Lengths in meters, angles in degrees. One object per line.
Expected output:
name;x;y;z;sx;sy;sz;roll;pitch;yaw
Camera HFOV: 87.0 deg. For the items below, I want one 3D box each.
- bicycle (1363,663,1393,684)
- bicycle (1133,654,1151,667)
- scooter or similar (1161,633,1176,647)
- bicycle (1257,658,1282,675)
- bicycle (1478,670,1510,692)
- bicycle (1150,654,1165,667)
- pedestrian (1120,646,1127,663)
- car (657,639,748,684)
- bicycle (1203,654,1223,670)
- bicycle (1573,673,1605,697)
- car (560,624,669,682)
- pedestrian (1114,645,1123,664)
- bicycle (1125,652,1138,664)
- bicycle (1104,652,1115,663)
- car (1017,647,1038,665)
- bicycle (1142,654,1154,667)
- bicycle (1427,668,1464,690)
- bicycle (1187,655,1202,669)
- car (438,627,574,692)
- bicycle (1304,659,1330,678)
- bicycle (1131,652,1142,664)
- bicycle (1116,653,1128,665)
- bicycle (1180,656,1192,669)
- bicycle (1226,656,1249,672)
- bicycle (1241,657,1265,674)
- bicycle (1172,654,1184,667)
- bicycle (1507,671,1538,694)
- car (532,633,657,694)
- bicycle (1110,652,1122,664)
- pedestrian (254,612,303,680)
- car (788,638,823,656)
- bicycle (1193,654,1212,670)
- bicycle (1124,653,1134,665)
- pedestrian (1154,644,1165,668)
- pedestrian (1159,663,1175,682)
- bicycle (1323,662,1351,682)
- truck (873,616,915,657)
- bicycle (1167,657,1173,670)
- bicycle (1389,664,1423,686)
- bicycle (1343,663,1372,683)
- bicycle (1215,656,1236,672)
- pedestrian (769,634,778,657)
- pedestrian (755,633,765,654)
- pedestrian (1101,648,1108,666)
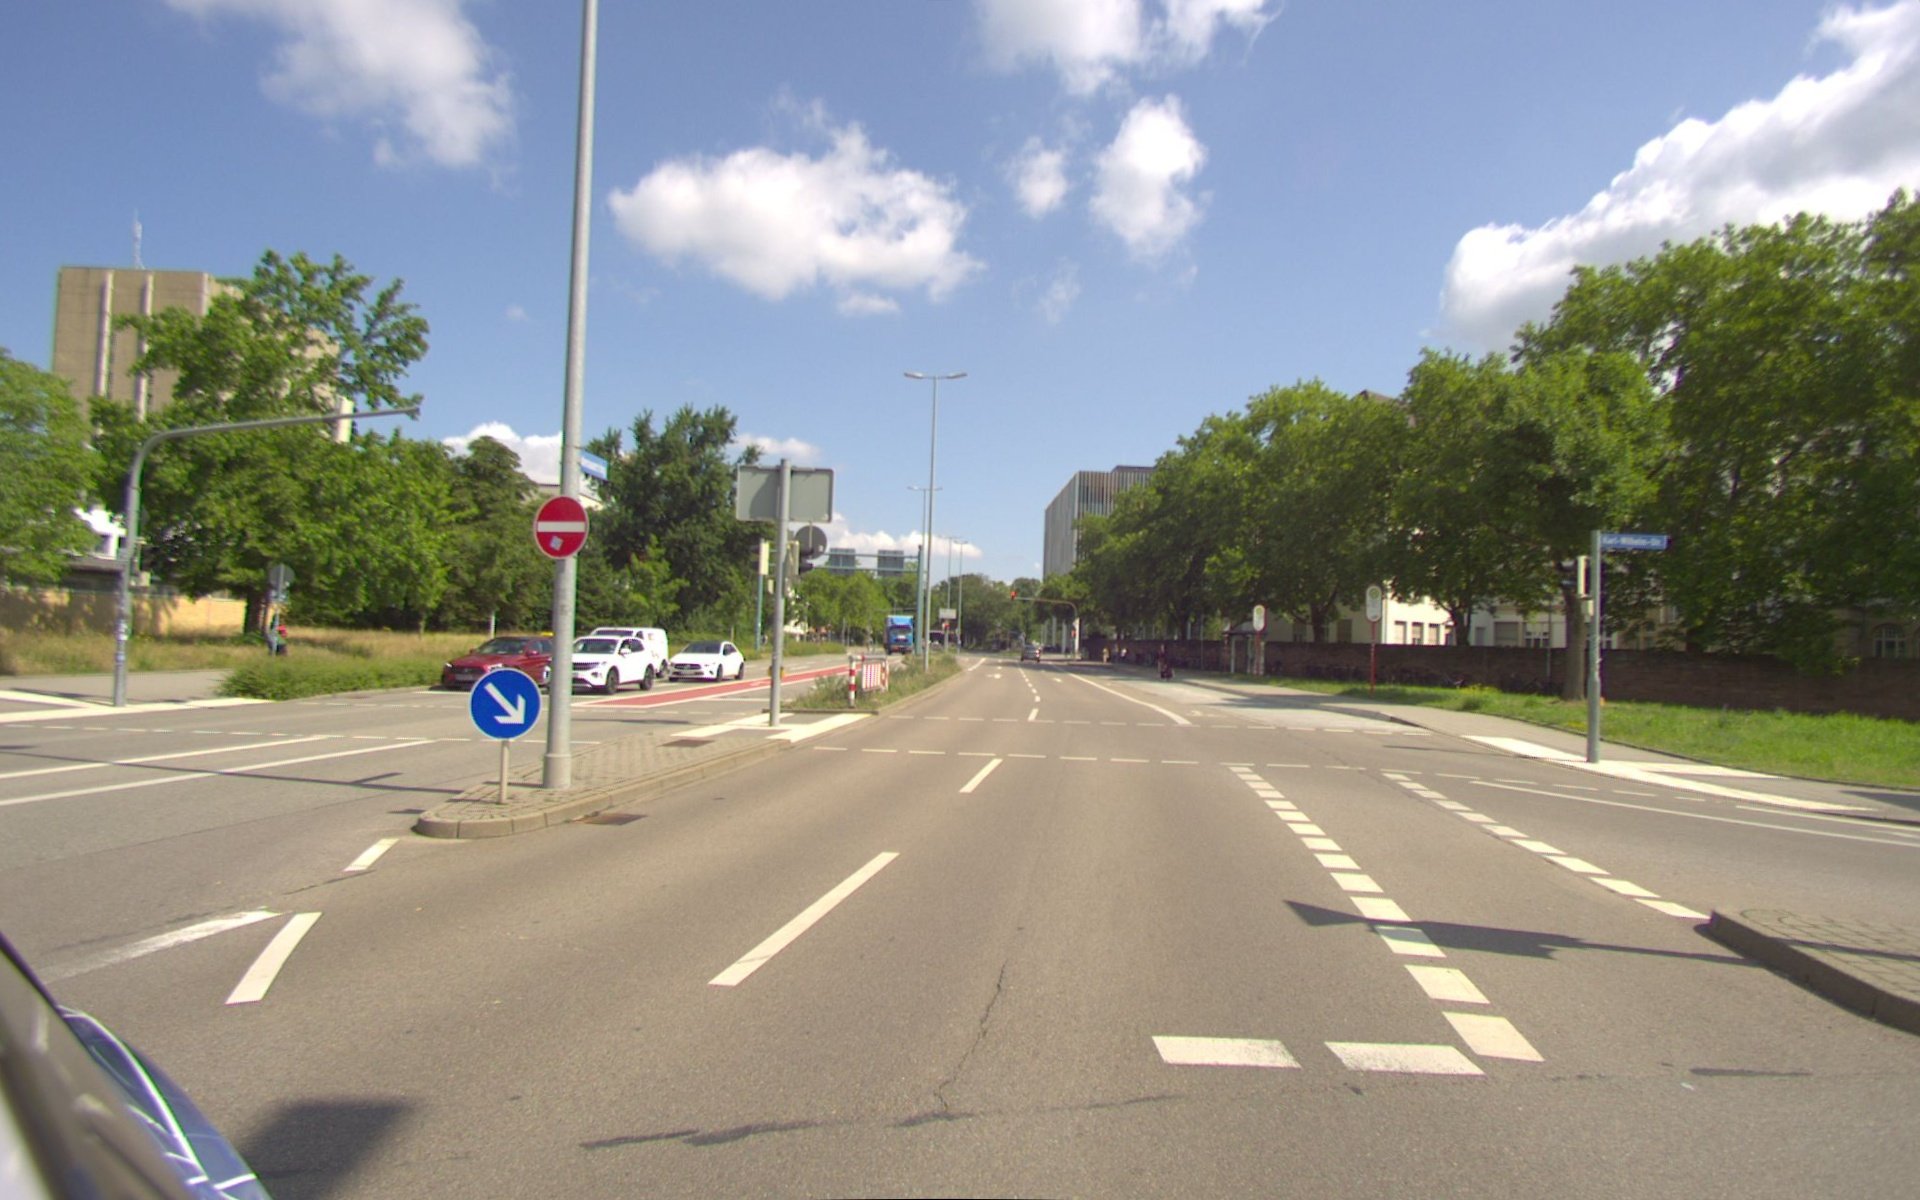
bicycle;23.082;4.030;55.850;0.574;1.081;1.636;3;-3;-19
bicycle;15.645;5.213;86.967;0.583;1.056;1.887;3;-3;-22
scooter or similar;16.668;3.202;81.002;0.573;1.056;1.884;2;-3;-7
bicycle;19.867;4.265;65.047;0.574;1.081;1.761;3;-3;-19
bicycle;25.810;3.912;48.965;0.464;1.019;1.460;3;-3;-18
bicycle;16.182;4.935;82.961;0.573;1.056;1.884;2;-3;-7
pedestrian;14.635;4.874;90.757;0.470;1.551;0.617;2;-3;-3
car;-9.137;2.171;36.286;1.885;1.435;4.379;2;-3;4
bicycle;18.060;4.445;72.253;0.574;1.081;1.760;2;-3;-13
bicycle;27.769;3.743;44.674;0.347;1.019;1.258;3;-3;-18
car;-12.211;1.879;36.125;1.923;1.884;4.819;2;-3;3
pedestrian;14.121;4.883;90.367;0.633;1.664;0.732;2;-3;-3
bicycle;15.133;5.131;89.380;0.584;1.056;1.884;2;-3;-7
bicycle;14.597;5.601;98.804;0.622;1.056;1.884;2;-3;-7
car;6.183;5.117;92.594;1.683;1.456;4.143;3;-3;2
bicycle;15.799;5.073;85.054;0.389;1.056;1.884;2;-3;-7
bicycle;24.708;4.009;51.503;0.464;1.019;1.970;3;-3;-18
bicycle;17.683;4.676;76.262;0.365;0.962;1.631;2;-3;-13
car;-12.756;1.653;28.760;1.664;1.654;4.458;1;-3;3
bicycle;21.401;4.079;60.689;0.574;1.081;1.636;3;-3;-19
bicycle;15.698;5.127;89.966;0.365;1.056;1.884;2;-3;-7
bicycle;15.131;5.491;94.701;0.557;1.056;1.884;2;-3;-7
bicycle;17.395;4.840;77.946;0.361;0.962;1.405;2;-3;-13
bicycle;18.818;4.327;68.587;0.574;1.081;1.761;3;-3;-19
bicycle;19.363;4.303;66.853;0.574;1.081;1.761;3;-3;-19
bicycle;17.065;4.755;79.307;0.361;0.962;1.405;2;-3;-13
bicycle;26.396;3.858;47.529;0.385;1.019;1.374;3;-3;-18
car;-9.906;1.707;27.767;1.773;1.551;4.006;0;-3;3
bicycle;14.872;5.536;96.677;0.622;1.056;1.884;2;-3;-7
pedestrian;-18.157;1.219;26.979;0.736;1.749;0.677;1;-2;7
car;-18.171;5.535;119.227;3.940;2.029;2.002;2;-2;-4
bicycle;17.798;4.542;74.320;0.574;1.081;1.760;2;-3;-13
bicycle;15.388;5.413;92.341;0.365;1.056;1.884;2;-3;-7
pedestrian;13.558;3.805;68.724;0.649;1.622;0.744;1;-3;3
pedestrian;11.033;3.842;53.874;0.687;0.970;0.742;1;-3;1
bicycle;21.969;4.194;59.019;0.574;1.081;1.636;3;-3;-19
truck;-6.765;3.665;102.226;2.621;3.828;9.214;2;-2;-14
bicycle;16.281;4.920;78.484;0.363;0.962;1.619;1;-3;11
bicycle;23.808;3.991;54.063;0.574;1.081;1.875;2;-3;-15
bicycle;22.536;4.144;57.438;0.574;1.081;1.636;3;-3;-19
bicycle;18.461;4.435;70.425;0.574;1.081;1.760;2;-3;-15
pedestrian;-14.716;3.590;79.902;0.561;1.815;0.638;2;-3;3
pedestrian;-15.759;3.449;79.783;0.617;1.593;0.708;2;-3;3
pedestrian;13.606;5.376;95.244;0.554;1.664;0.727;2;-3;-3
